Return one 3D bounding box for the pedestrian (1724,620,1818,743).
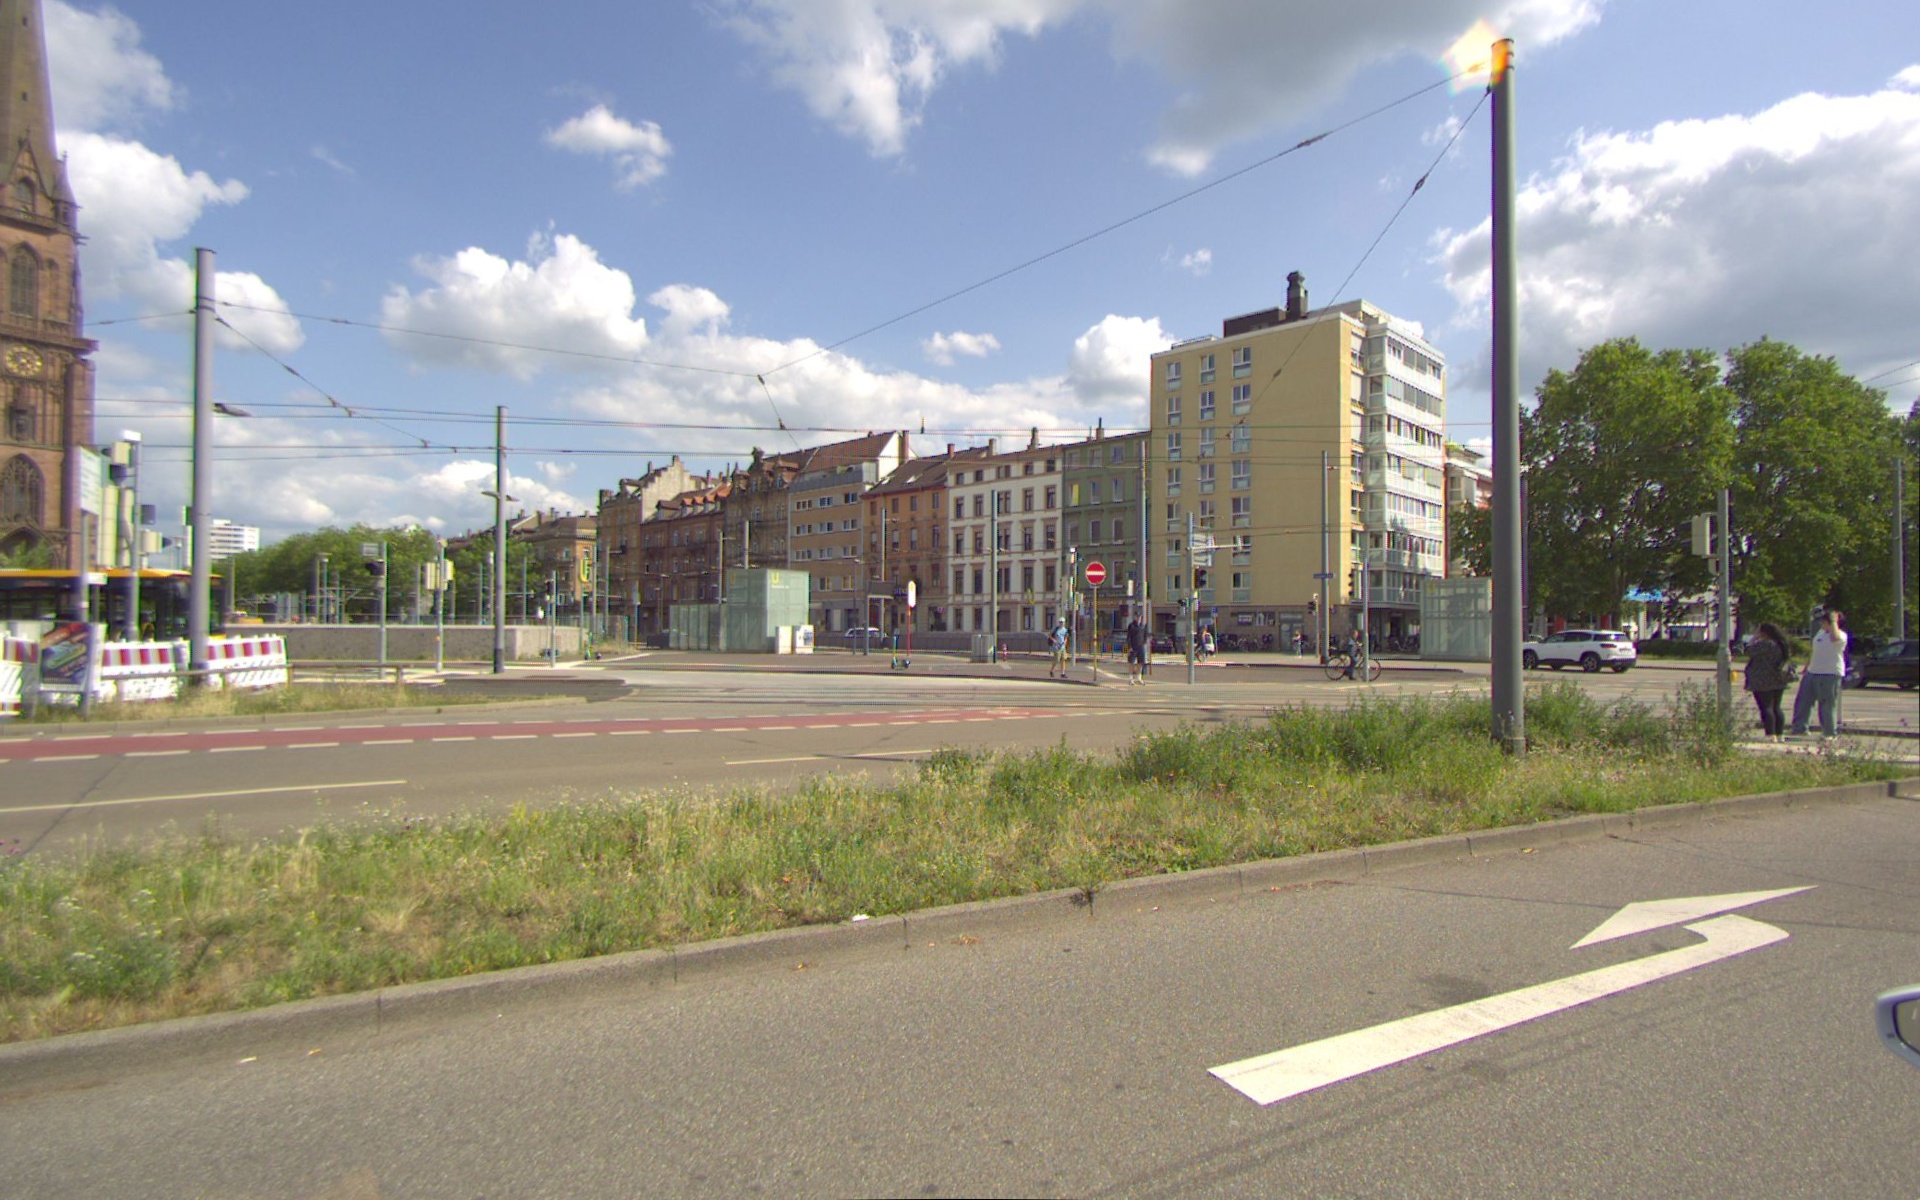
[{"bbox_3d":[11.402,1.124,14.131,0.685,1.669,0.843,2,-2,-32],"label":"pedestrian"}]

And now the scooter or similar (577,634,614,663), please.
[{"bbox_3d":[-15.048,1.995,41.506,0.836,1.120,1.646,2,0,1],"label":"scooter or similar"}]

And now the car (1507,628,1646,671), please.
[{"bbox_3d":[24.965,1.982,40.862,2.016,1.599,4.516,2,-1,-22],"label":"car"}]

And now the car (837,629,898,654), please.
[{"bbox_3d":[-6.420,2.877,69.659,2.029,1.661,4.232,2,-2,-44],"label":"car"}]

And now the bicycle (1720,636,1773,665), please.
[{"bbox_3d":[41.100,2.630,52.509,2.145,1.433,0.807,0,-1,43],"label":"bicycle"}]

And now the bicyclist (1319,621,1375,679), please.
[{"bbox_3d":[11.971,1.553,31.072,0.985,1.753,1.289,2,-3,-34],"label":"bicyclist"}]

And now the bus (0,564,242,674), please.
[{"bbox_3d":[-29.334,0.573,30.624,12.589,3.177,2.834,1,-2,-2],"label":"bus"}]

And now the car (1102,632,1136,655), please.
[{"bbox_3d":[11.087,3.022,70.158,1.862,1.516,3.902,1,-3,2],"label":"car"}]

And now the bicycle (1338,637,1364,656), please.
[{"bbox_3d":[26.727,3.155,68.672,1.792,1.275,0.789,2,-2,-36],"label":"bicycle"}]

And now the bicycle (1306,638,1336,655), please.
[{"bbox_3d":[24.628,3.179,68.527,1.782,1.118,0.793,0,-2,39],"label":"bicycle"}]

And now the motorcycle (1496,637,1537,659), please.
[{"bbox_3d":[33.206,2.838,59.980,0.890,1.254,2.213,0,-2,-14],"label":"motorcycle"}]

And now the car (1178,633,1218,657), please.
[{"bbox_3d":[15.762,2.982,66.714,1.862,1.516,3.902,1,-3,3],"label":"car"}]

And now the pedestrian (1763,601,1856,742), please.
[{"bbox_3d":[12.142,1.010,14.366,0.685,1.942,0.843,2,-2,-32],"label":"pedestrian"}]

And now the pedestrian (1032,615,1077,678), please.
[{"bbox_3d":[2.813,1.386,29.934,1.016,1.821,0.761,2,0,-29],"label":"pedestrian"}]

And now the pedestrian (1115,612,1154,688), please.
[{"bbox_3d":[4.561,1.294,26.266,0.753,1.928,0.826,2,0,27],"label":"pedestrian"}]

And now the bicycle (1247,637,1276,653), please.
[{"bbox_3d":[21.530,3.194,71.732,1.782,1.118,0.793,0,-2,39],"label":"bicycle"}]

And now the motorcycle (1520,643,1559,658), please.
[{"bbox_3d":[36.650,3.180,63.529,2.003,0.929,0.812,-1,-1,5],"label":"motorcycle"}]

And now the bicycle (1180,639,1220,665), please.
[{"bbox_3d":[11.273,2.427,47.156,0.876,1.153,2.347,2,-1,39],"label":"bicycle"}]

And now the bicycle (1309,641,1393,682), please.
[{"bbox_3d":[12.023,1.879,30.986,0.985,1.204,2.279,2,-3,-34],"label":"bicycle"}]

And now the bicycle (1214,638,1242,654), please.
[{"bbox_3d":[19.596,3.361,73.519,1.782,1.118,0.793,0,-2,39],"label":"bicycle"}]

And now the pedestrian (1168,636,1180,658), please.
[{"bbox_3d":[15.036,3.284,70.488,0.688,1.554,0.554,-2,-3,34],"label":"pedestrian"}]

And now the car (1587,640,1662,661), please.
[{"bbox_3d":[45.081,3.440,68.196,1.616,1.344,3.964,3,-4,-33],"label":"car"}]

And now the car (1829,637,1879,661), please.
[{"bbox_3d":[77.644,4.307,87.242,5.014,1.962,1.957,3,-4,-33],"label":"car"}]

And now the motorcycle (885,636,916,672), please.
[{"bbox_3d":[-2.126,1.927,35.738,0.478,1.253,1.436,2,-3,-29],"label":"motorcycle"}]

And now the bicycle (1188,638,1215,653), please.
[{"bbox_3d":[18.008,3.391,74.787,1.782,1.118,0.793,0,-2,39],"label":"bicycle"}]

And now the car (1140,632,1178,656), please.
[{"bbox_3d":[13.372,2.959,67.590,1.862,1.516,3.902,1,-3,2],"label":"car"}]

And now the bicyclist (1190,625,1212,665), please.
[{"bbox_3d":[11.323,2.108,47.183,0.768,1.821,0.707,2,0,39],"label":"bicyclist"}]

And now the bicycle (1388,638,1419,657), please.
[{"bbox_3d":[29.630,3.160,67.091,1.783,1.162,0.793,0,-2,40],"label":"bicycle"}]
